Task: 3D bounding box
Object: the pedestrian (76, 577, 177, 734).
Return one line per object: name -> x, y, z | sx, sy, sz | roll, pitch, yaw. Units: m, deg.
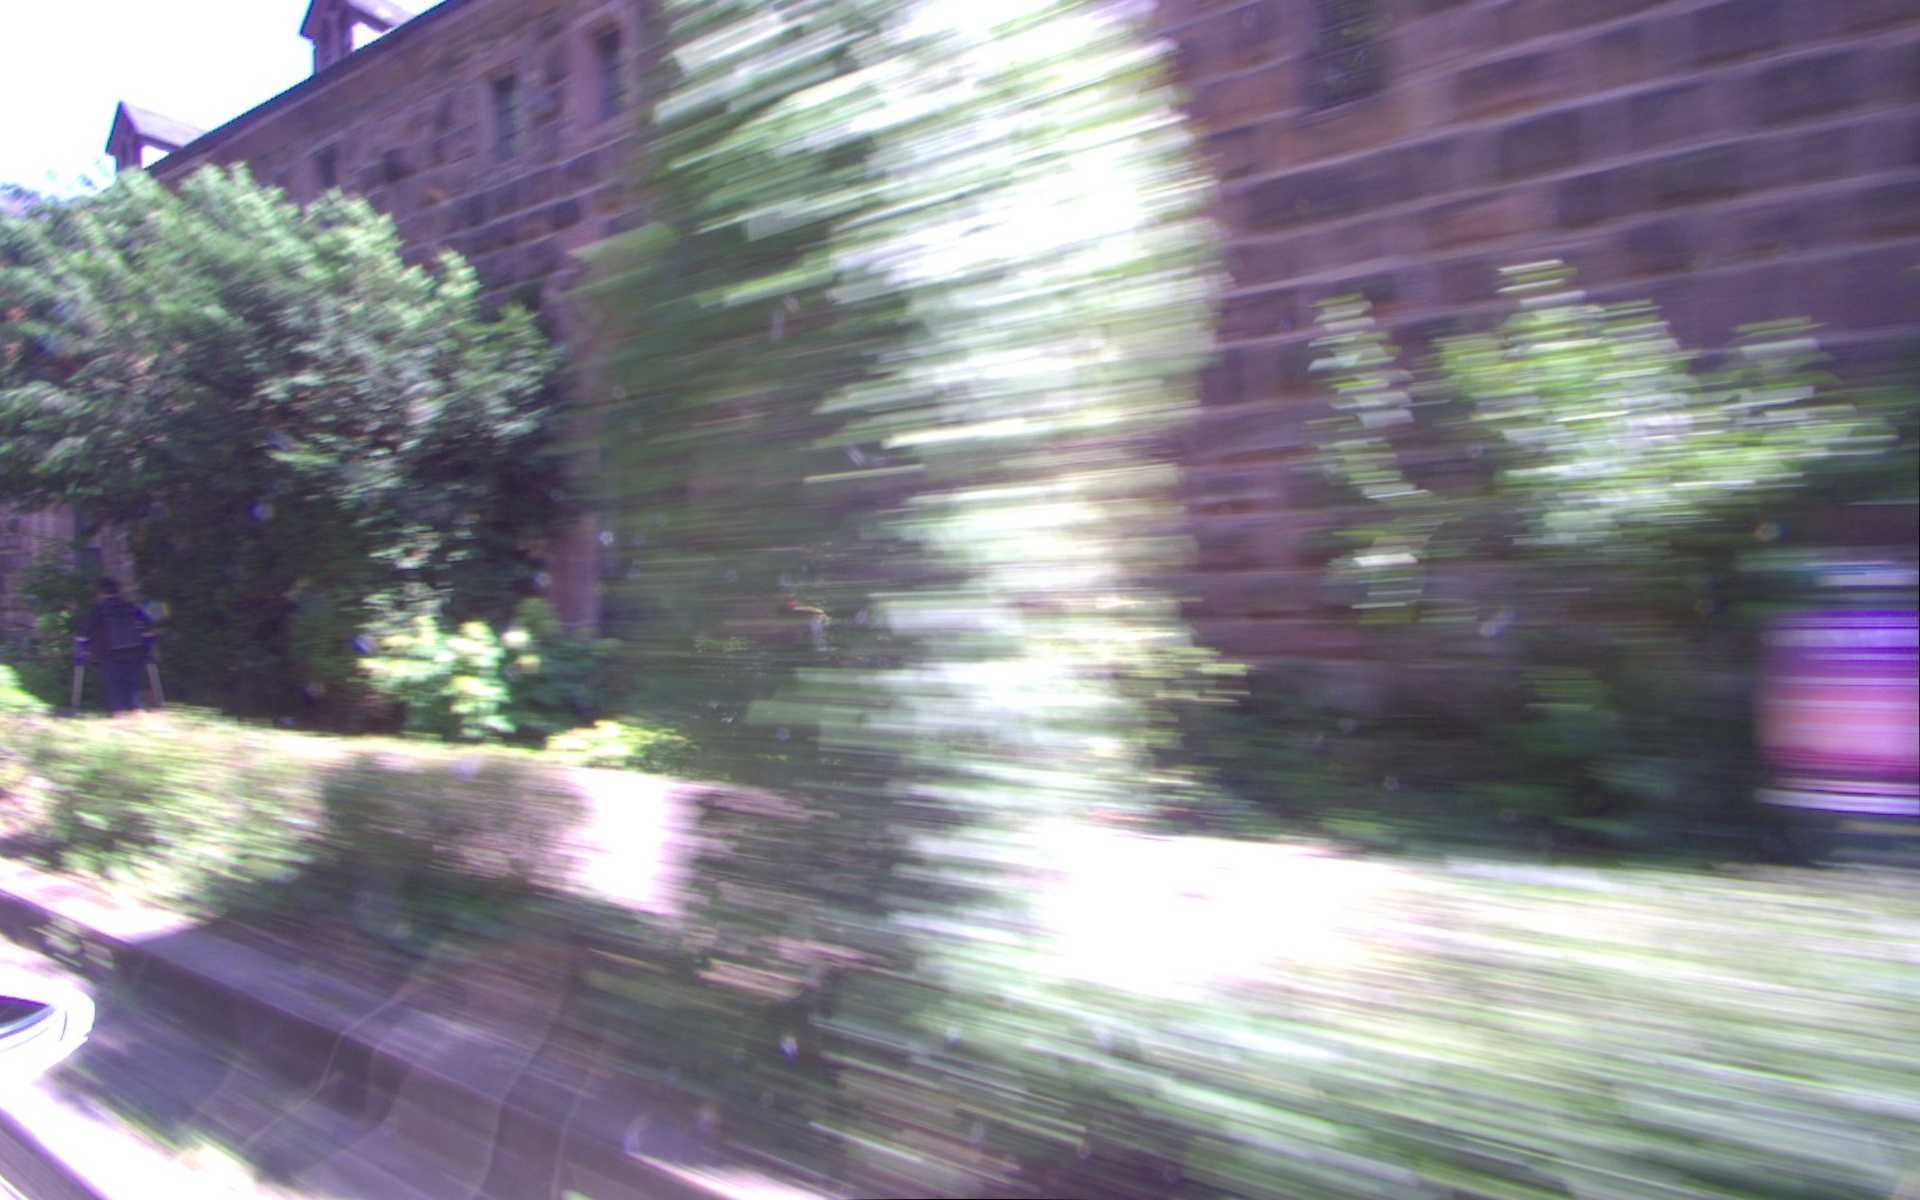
pedestrian -> -9.279, 0.597, 11.152 | 0.695, 1.674, 0.696 | 0, 1, 35
